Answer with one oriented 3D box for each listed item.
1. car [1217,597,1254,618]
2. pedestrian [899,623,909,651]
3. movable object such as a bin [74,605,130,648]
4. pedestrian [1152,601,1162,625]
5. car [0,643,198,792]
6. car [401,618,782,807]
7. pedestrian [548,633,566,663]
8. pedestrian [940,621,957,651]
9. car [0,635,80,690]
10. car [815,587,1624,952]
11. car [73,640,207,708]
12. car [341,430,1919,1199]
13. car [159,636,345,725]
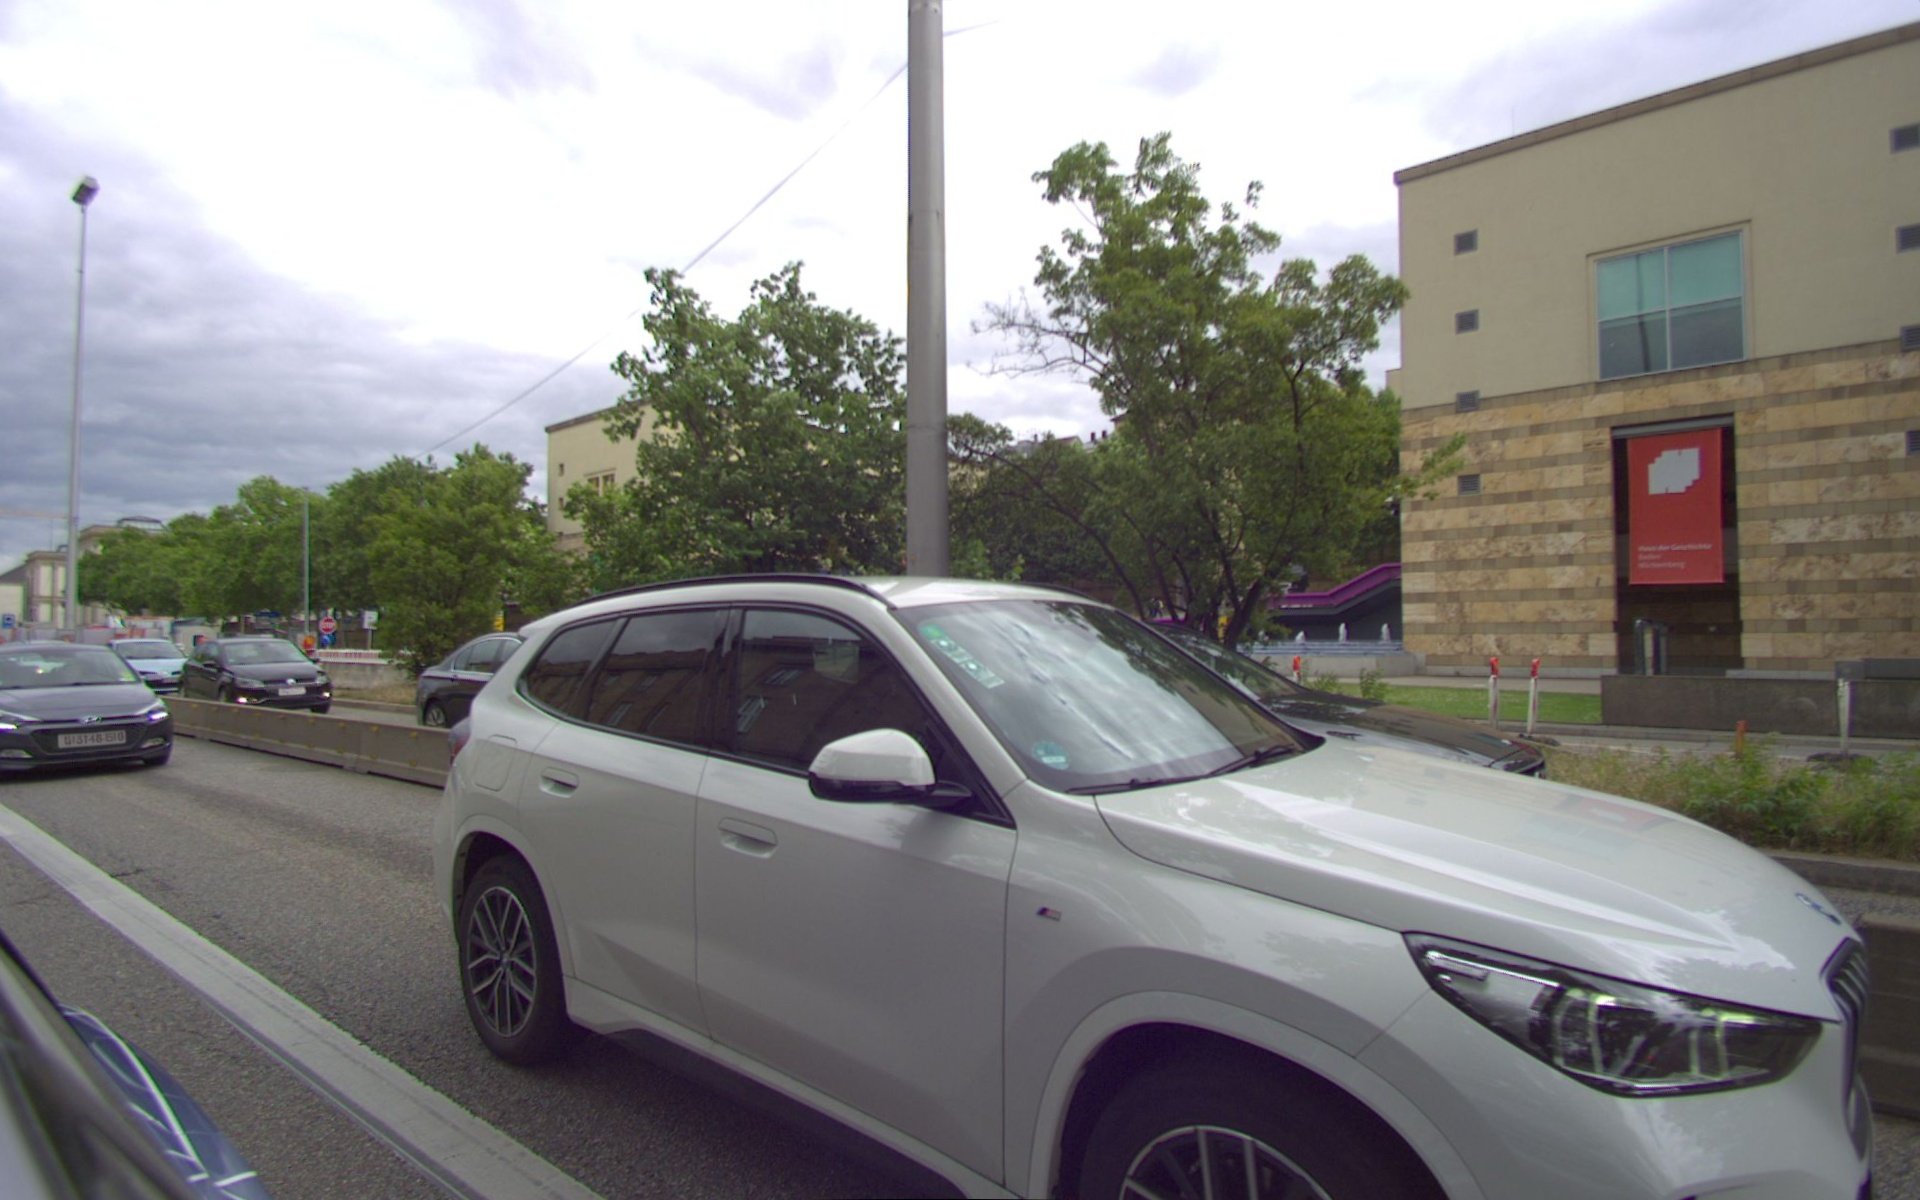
[{"bbox_3d":[24.848,0.642,91.374,1.610,1.811,3.753,-3,-2,43],"label":"car"},{"bbox_3d":[-3.404,2.243,61.814,0.526,1.708,0.338,-2,-2,40],"label":"pedestrian"},{"bbox_3d":[-44.868,1.403,52.907,3.286,2.202,1.508,-2,-3,36],"label":"movable object such as a bin"},{"bbox_3d":[14.706,0.939,75.418,0.477,1.762,0.638,-2,-2,39],"label":"pedestrian"},{"bbox_3d":[-10.763,1.251,11.917,4.012,1.448,1.781,-2,-2,36],"label":"car"},{"bbox_3d":[-4.273,1.059,11.243,4.935,1.648,1.903,-2,-2,42],"label":"car"},{"bbox_3d":[-27.548,3.260,69.138,0.814,2.029,0.836,-2,-1,41],"label":"pedestrian"},{"bbox_3d":[-0.720,2.250,63.461,0.803,1.867,0.684,-2,-1,41],"label":"pedestrian"},{"bbox_3d":[-28.258,1.819,30.074,4.687,1.492,1.864,-2,-2,31],"label":"car"},{"bbox_3d":[1.268,0.793,6.513,4.769,1.511,1.796,-2,-3,43],"label":"car"},{"bbox_3d":[-20.144,1.753,24.819,3.847,1.518,1.657,-2,-2,36],"label":"car"},{"bbox_3d":[-0.043,0.693,3.201,4.903,1.640,1.832,-2,-2,40],"label":"car"},{"bbox_3d":[-13.315,1.427,18.959,4.190,1.465,1.644,-2,-2,37],"label":"car"}]
